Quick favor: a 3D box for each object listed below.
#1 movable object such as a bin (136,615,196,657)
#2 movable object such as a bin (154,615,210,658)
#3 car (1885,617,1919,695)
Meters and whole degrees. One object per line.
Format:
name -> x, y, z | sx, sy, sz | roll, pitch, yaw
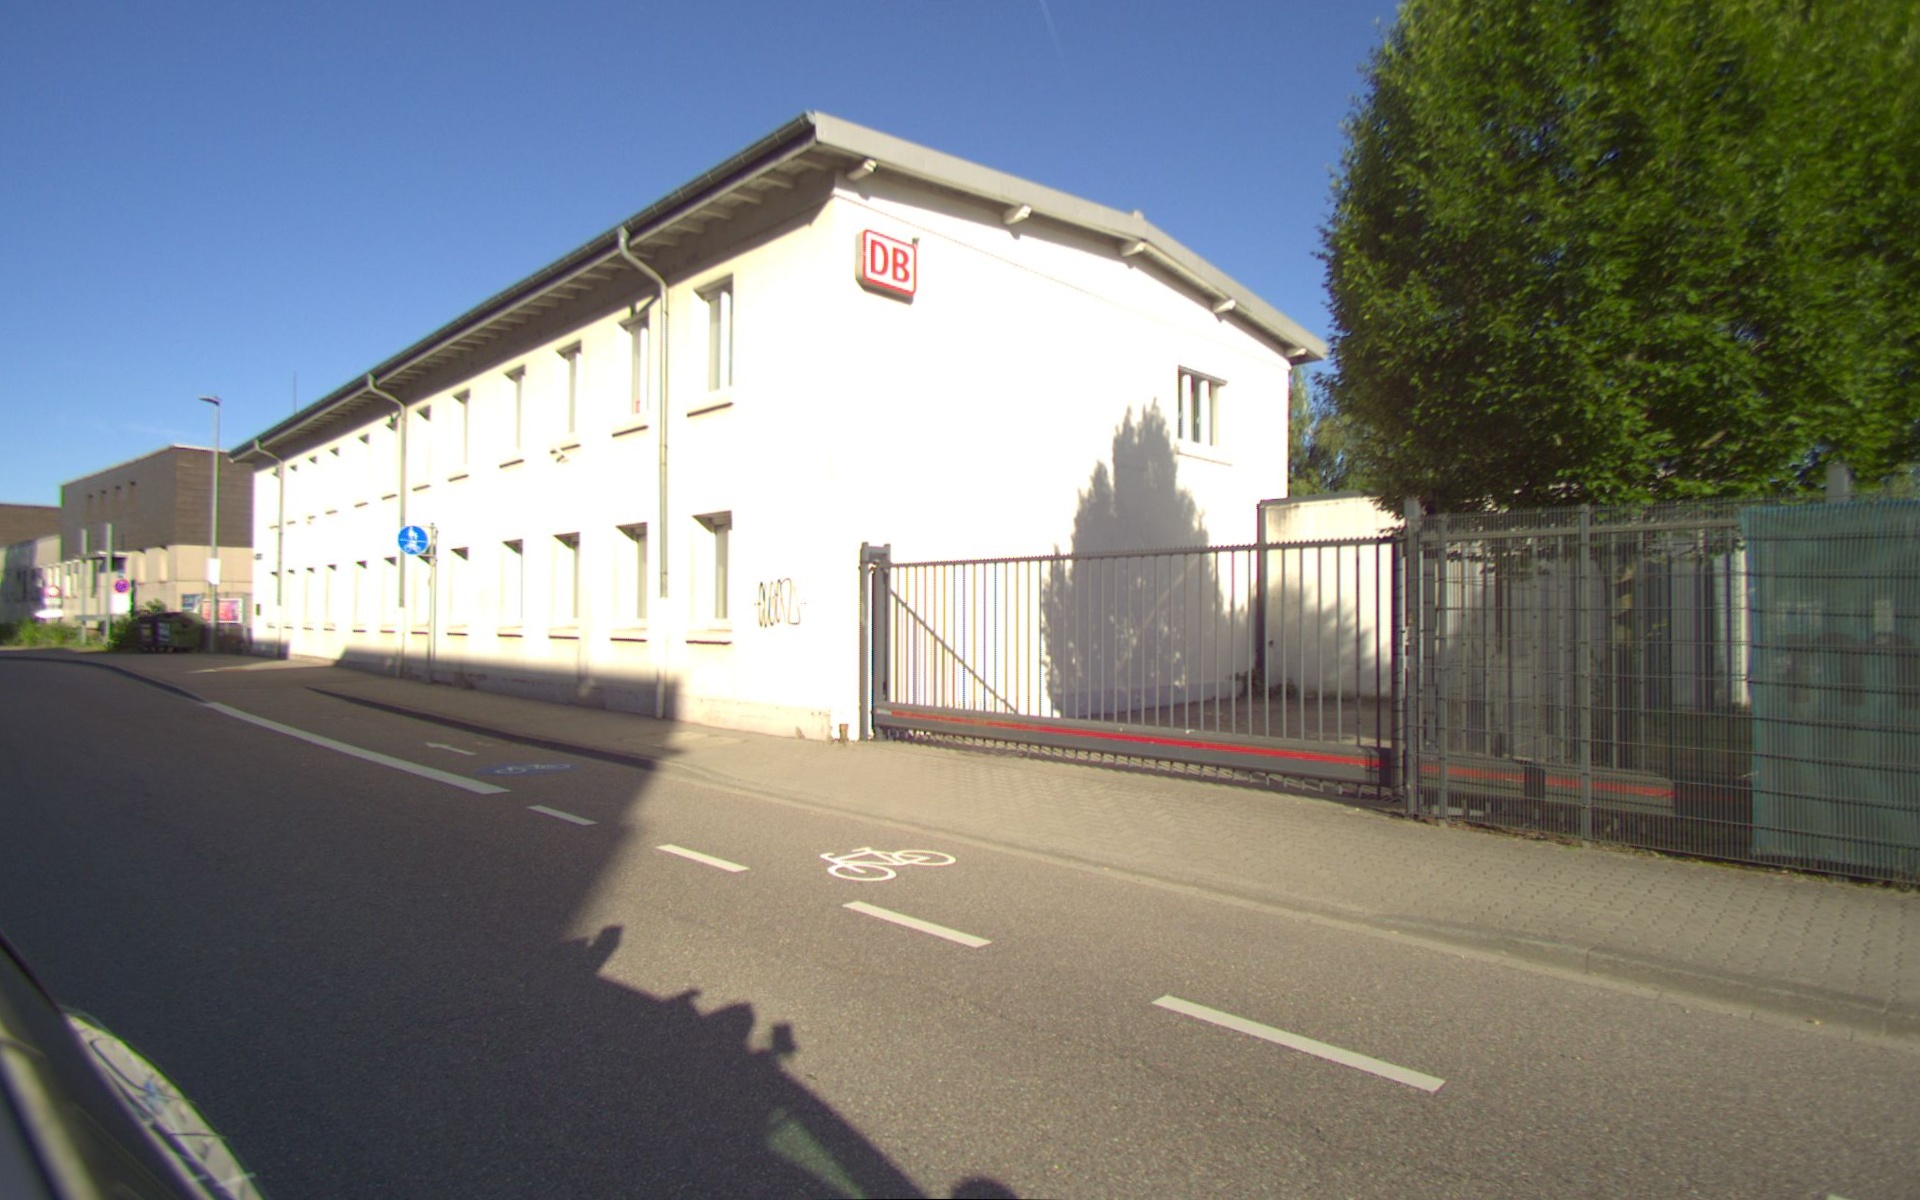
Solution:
movable object such as a bin -> -28.534, 1.282, 36.376 | 1.285, 1.482, 1.349 | -1, -1, 33
movable object such as a bin -> -27.383, 1.265, 35.612 | 1.369, 1.482, 1.189 | -1, -1, 33
car -> 19.812, 1.049, 18.590 | 1.754, 1.468, 4.005 | 1, -2, -42
